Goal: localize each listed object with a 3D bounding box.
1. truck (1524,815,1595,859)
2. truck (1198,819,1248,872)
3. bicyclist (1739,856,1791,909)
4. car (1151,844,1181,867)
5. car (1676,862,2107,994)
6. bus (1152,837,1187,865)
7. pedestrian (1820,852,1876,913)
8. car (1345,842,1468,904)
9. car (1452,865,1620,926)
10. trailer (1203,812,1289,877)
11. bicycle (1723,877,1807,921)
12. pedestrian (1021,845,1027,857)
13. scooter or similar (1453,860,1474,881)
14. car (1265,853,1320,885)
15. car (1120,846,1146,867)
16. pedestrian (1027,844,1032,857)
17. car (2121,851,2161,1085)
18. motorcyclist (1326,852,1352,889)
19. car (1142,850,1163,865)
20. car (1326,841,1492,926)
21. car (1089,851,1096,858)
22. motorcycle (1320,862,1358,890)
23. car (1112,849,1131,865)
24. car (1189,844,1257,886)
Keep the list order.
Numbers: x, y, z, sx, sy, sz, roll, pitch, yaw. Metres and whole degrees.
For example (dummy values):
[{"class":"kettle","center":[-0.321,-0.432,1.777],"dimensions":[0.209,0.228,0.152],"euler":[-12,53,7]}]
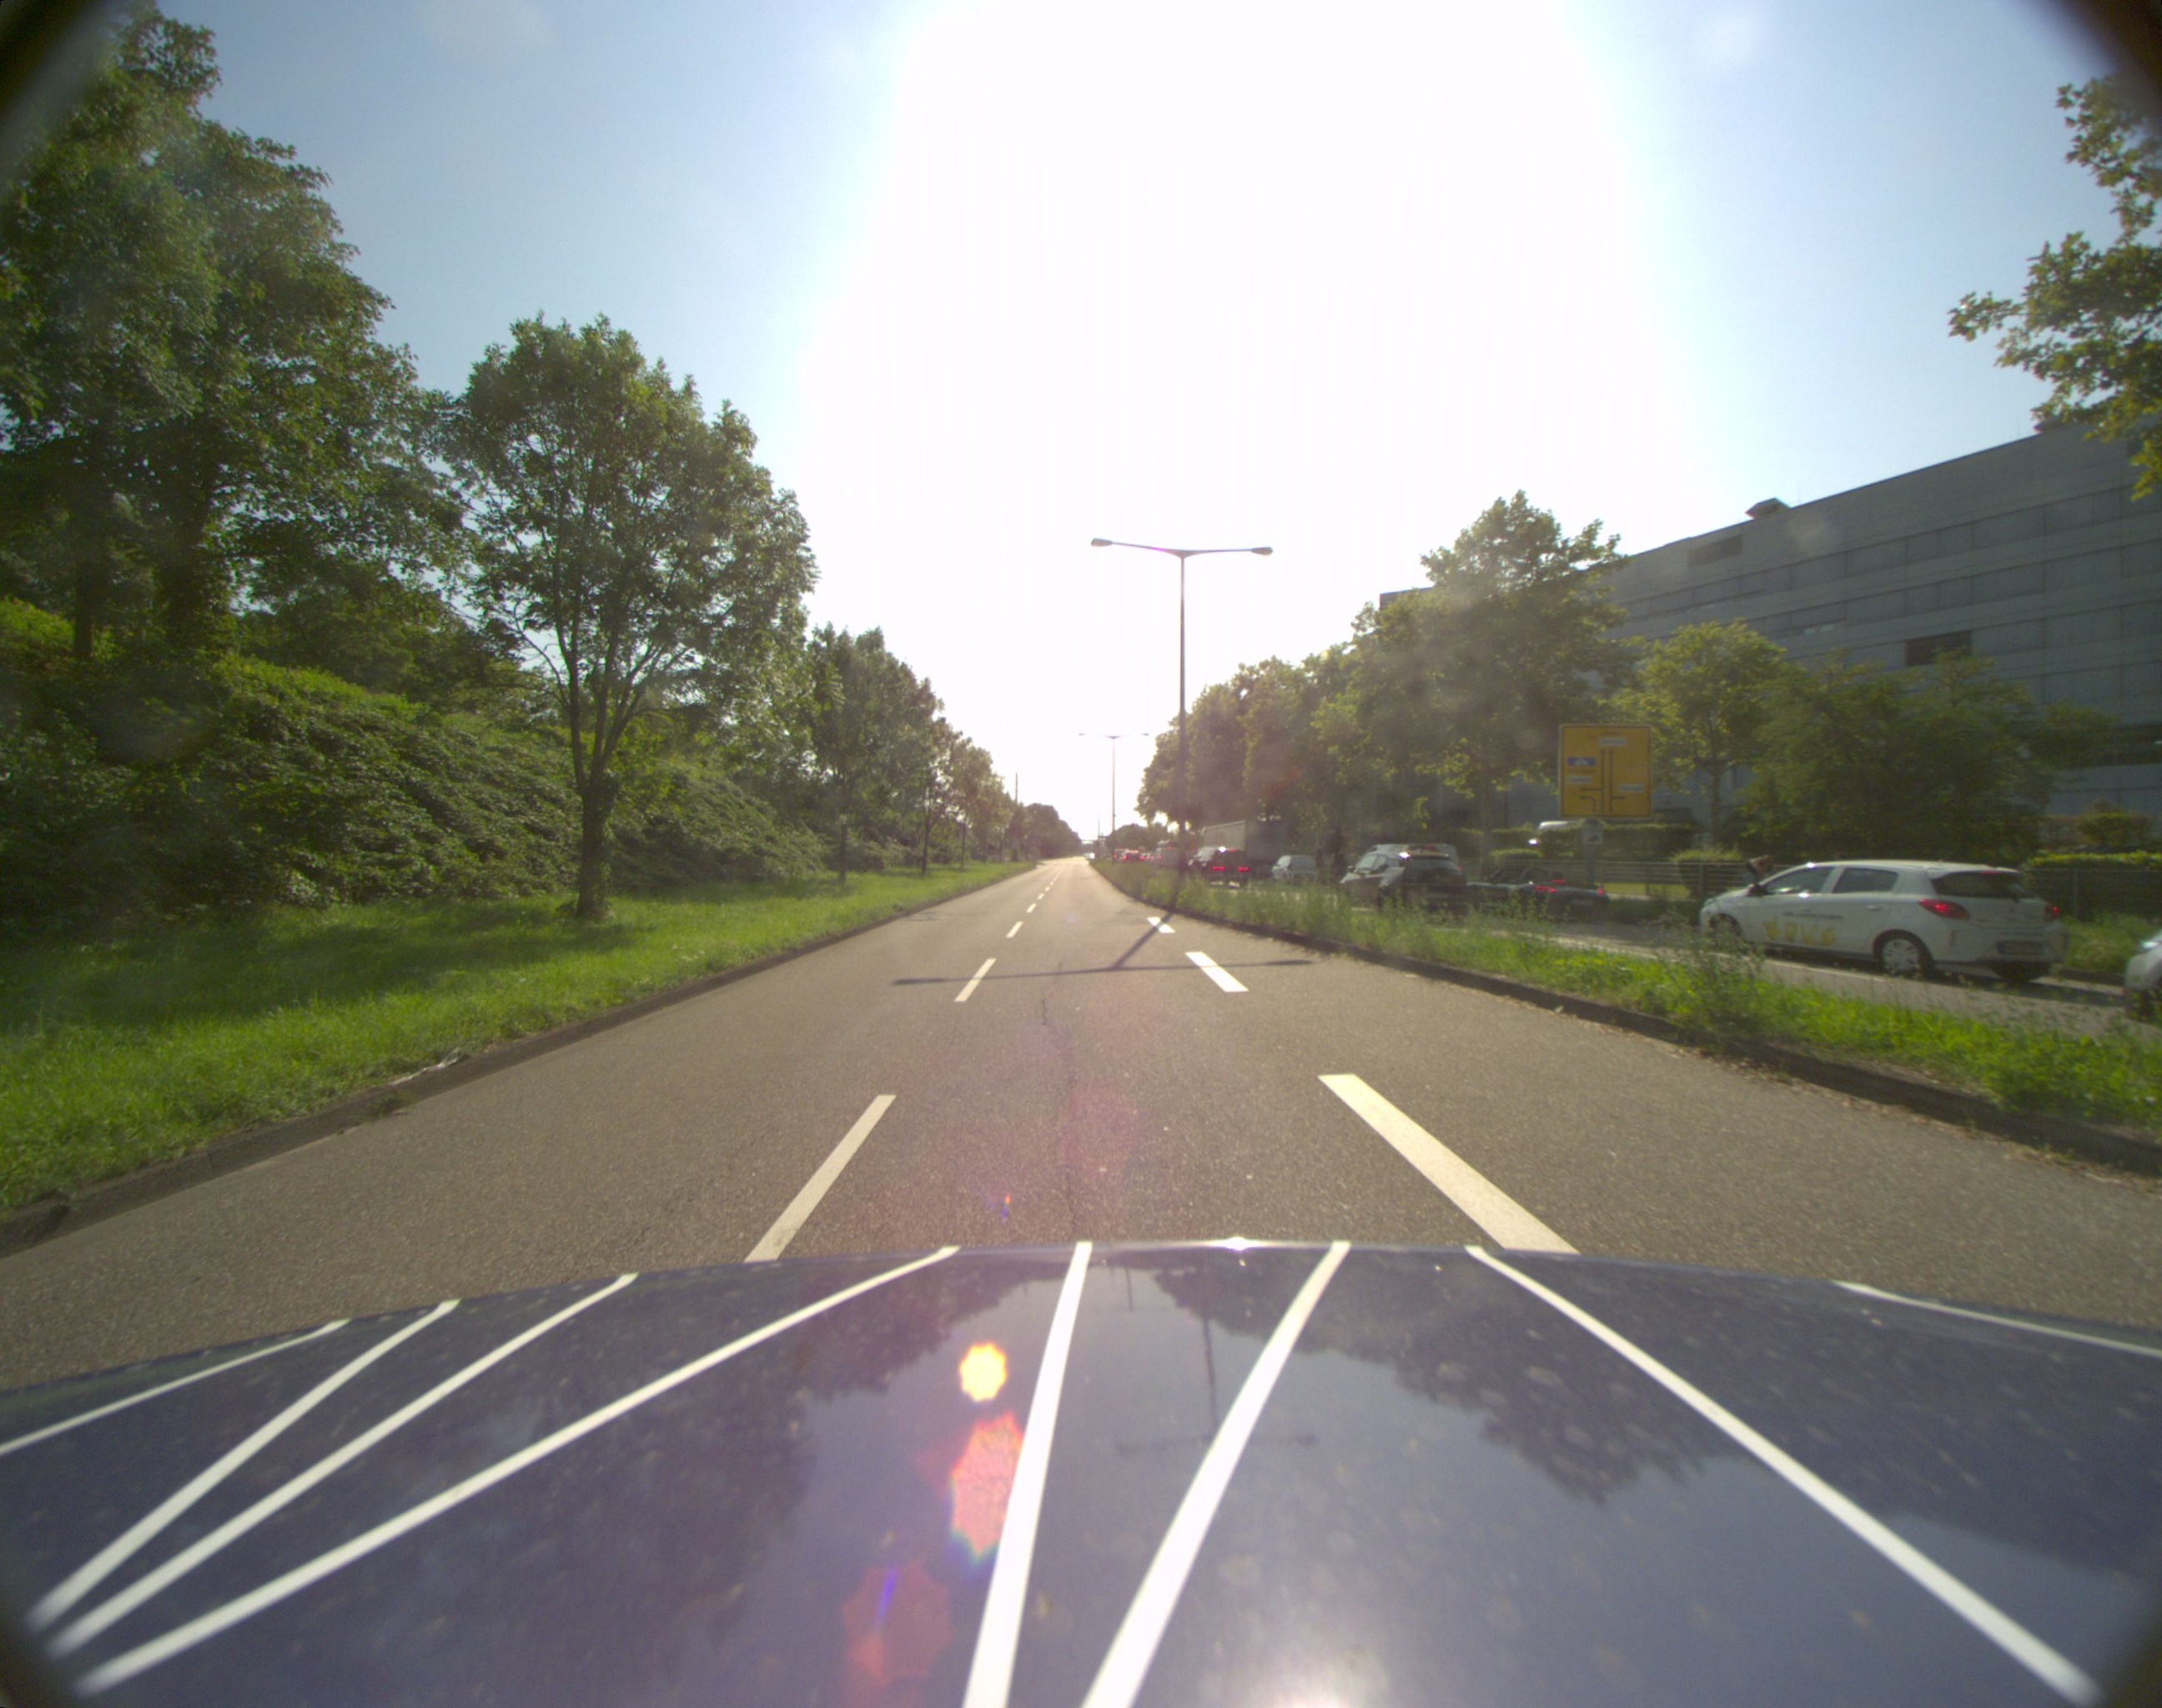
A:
[{"class":"truck","center":[32.711,-1.159,51.841],"dimensions":[5.916,2.844,2.233],"euler":[-1,1,-38]},{"class":"truck","center":[10.850,-0.637,58.514],"dimensions":[2.614,3.797,5.890],"euler":[1,0,-1]},{"class":"bicyclist","center":[18.748,0.771,20.843],"dimensions":[0.650,1.431,0.840],"euler":[0,1,-1]},{"class":"car","center":[7.407,0.088,66.738],"dimensions":[1.999,1.942,5.035],"euler":[0,0,-1]},{"class":"car","center":[11.001,0.875,10.834],"dimensions":[1.795,1.473,3.999],"euler":[0,0,-2]},{"class":"bus","center":[10.351,-0.355,90.122],"dimensions":[2.597,3.061,12.310],"euler":[-1,0,0]},{"class":"pedestrian","center":[21.240,0.764,21.056],"dimensions":[0.618,1.643,0.933],"euler":[-1,1,-1]},{"class":"car","center":[10.871,0.579,25.854],"dimensions":[1.989,1.848,4.968],"euler":[2,0,0]},{"class":"car","center":[11.143,0.961,18.978],"dimensions":[1.795,1.255,4.095],"euler":[1,0,1]},{"class":"trailer","center":[10.883,-0.611,51.968],"dimensions":[2.640,3.799,13.809],"euler":[1,0,-1]},{"class":"bicycle","center":[18.733,1.205,20.873],"dimensions":[0.650,1.101,1.800],"euler":[0,0,-1]},{"class":"pedestrian","center":[-8.001,-0.418,106.361],"dimensions":[0.573,1.558,0.535],"euler":[-2,2,-41]},{"class":"scooter or similar","center":[21.574,0.935,42.892],"dimensions":[0.510,1.121,1.381],"euler":[-1,1,1]},{"class":"car","center":[10.699,0.725,38.674],"dimensions":[1.750,1.471,3.830],"euler":[1,0,1]},{"class":"car","center":[4.515,0.202,66.601],"dimensions":[1.959,1.714,4.586],"euler":[0,0,0]},{"class":"pedestrian","center":[-7.172,-0.487,105.882],"dimensions":[0.570,1.672,0.493],"euler":[0,1,32]},{"class":"car","center":[8.297,0.782,3.303],"dimensions":[1.884,1.584,4.107],"euler":[0,0,-1]},{"class":"motorcyclist","center":[11.005,0.708,32.415],"dimensions":[0.780,1.545,0.922],"euler":[-1,1,0]},{"class":"car","center":[7.390,0.360,79.003],"dimensions":[1.699,1.520,4.139],"euler":[1,0,-1]},{"class":"car","center":[7.635,0.607,18.226],"dimensions":[1.999,1.749,4.306],"euler":[2,0,-1]},{"class":"car","center":[2.547,0.111,167.109],"dimensions":[1.544,1.433,3.396],"euler":[0,-1,3]},{"class":"motorcycle","center":[11.008,0.937,32.535],"dimensions":[0.796,1.100,2.467],"euler":[-1,0,0]},{"class":"car","center":[4.725,0.320,89.915],"dimensions":[1.916,1.853,4.889],"euler":[0,0,-1]},{"class":"car","center":[6.263,0.453,34.125],"dimensions":[1.999,1.749,4.475],"euler":[0,0,-3]}]
